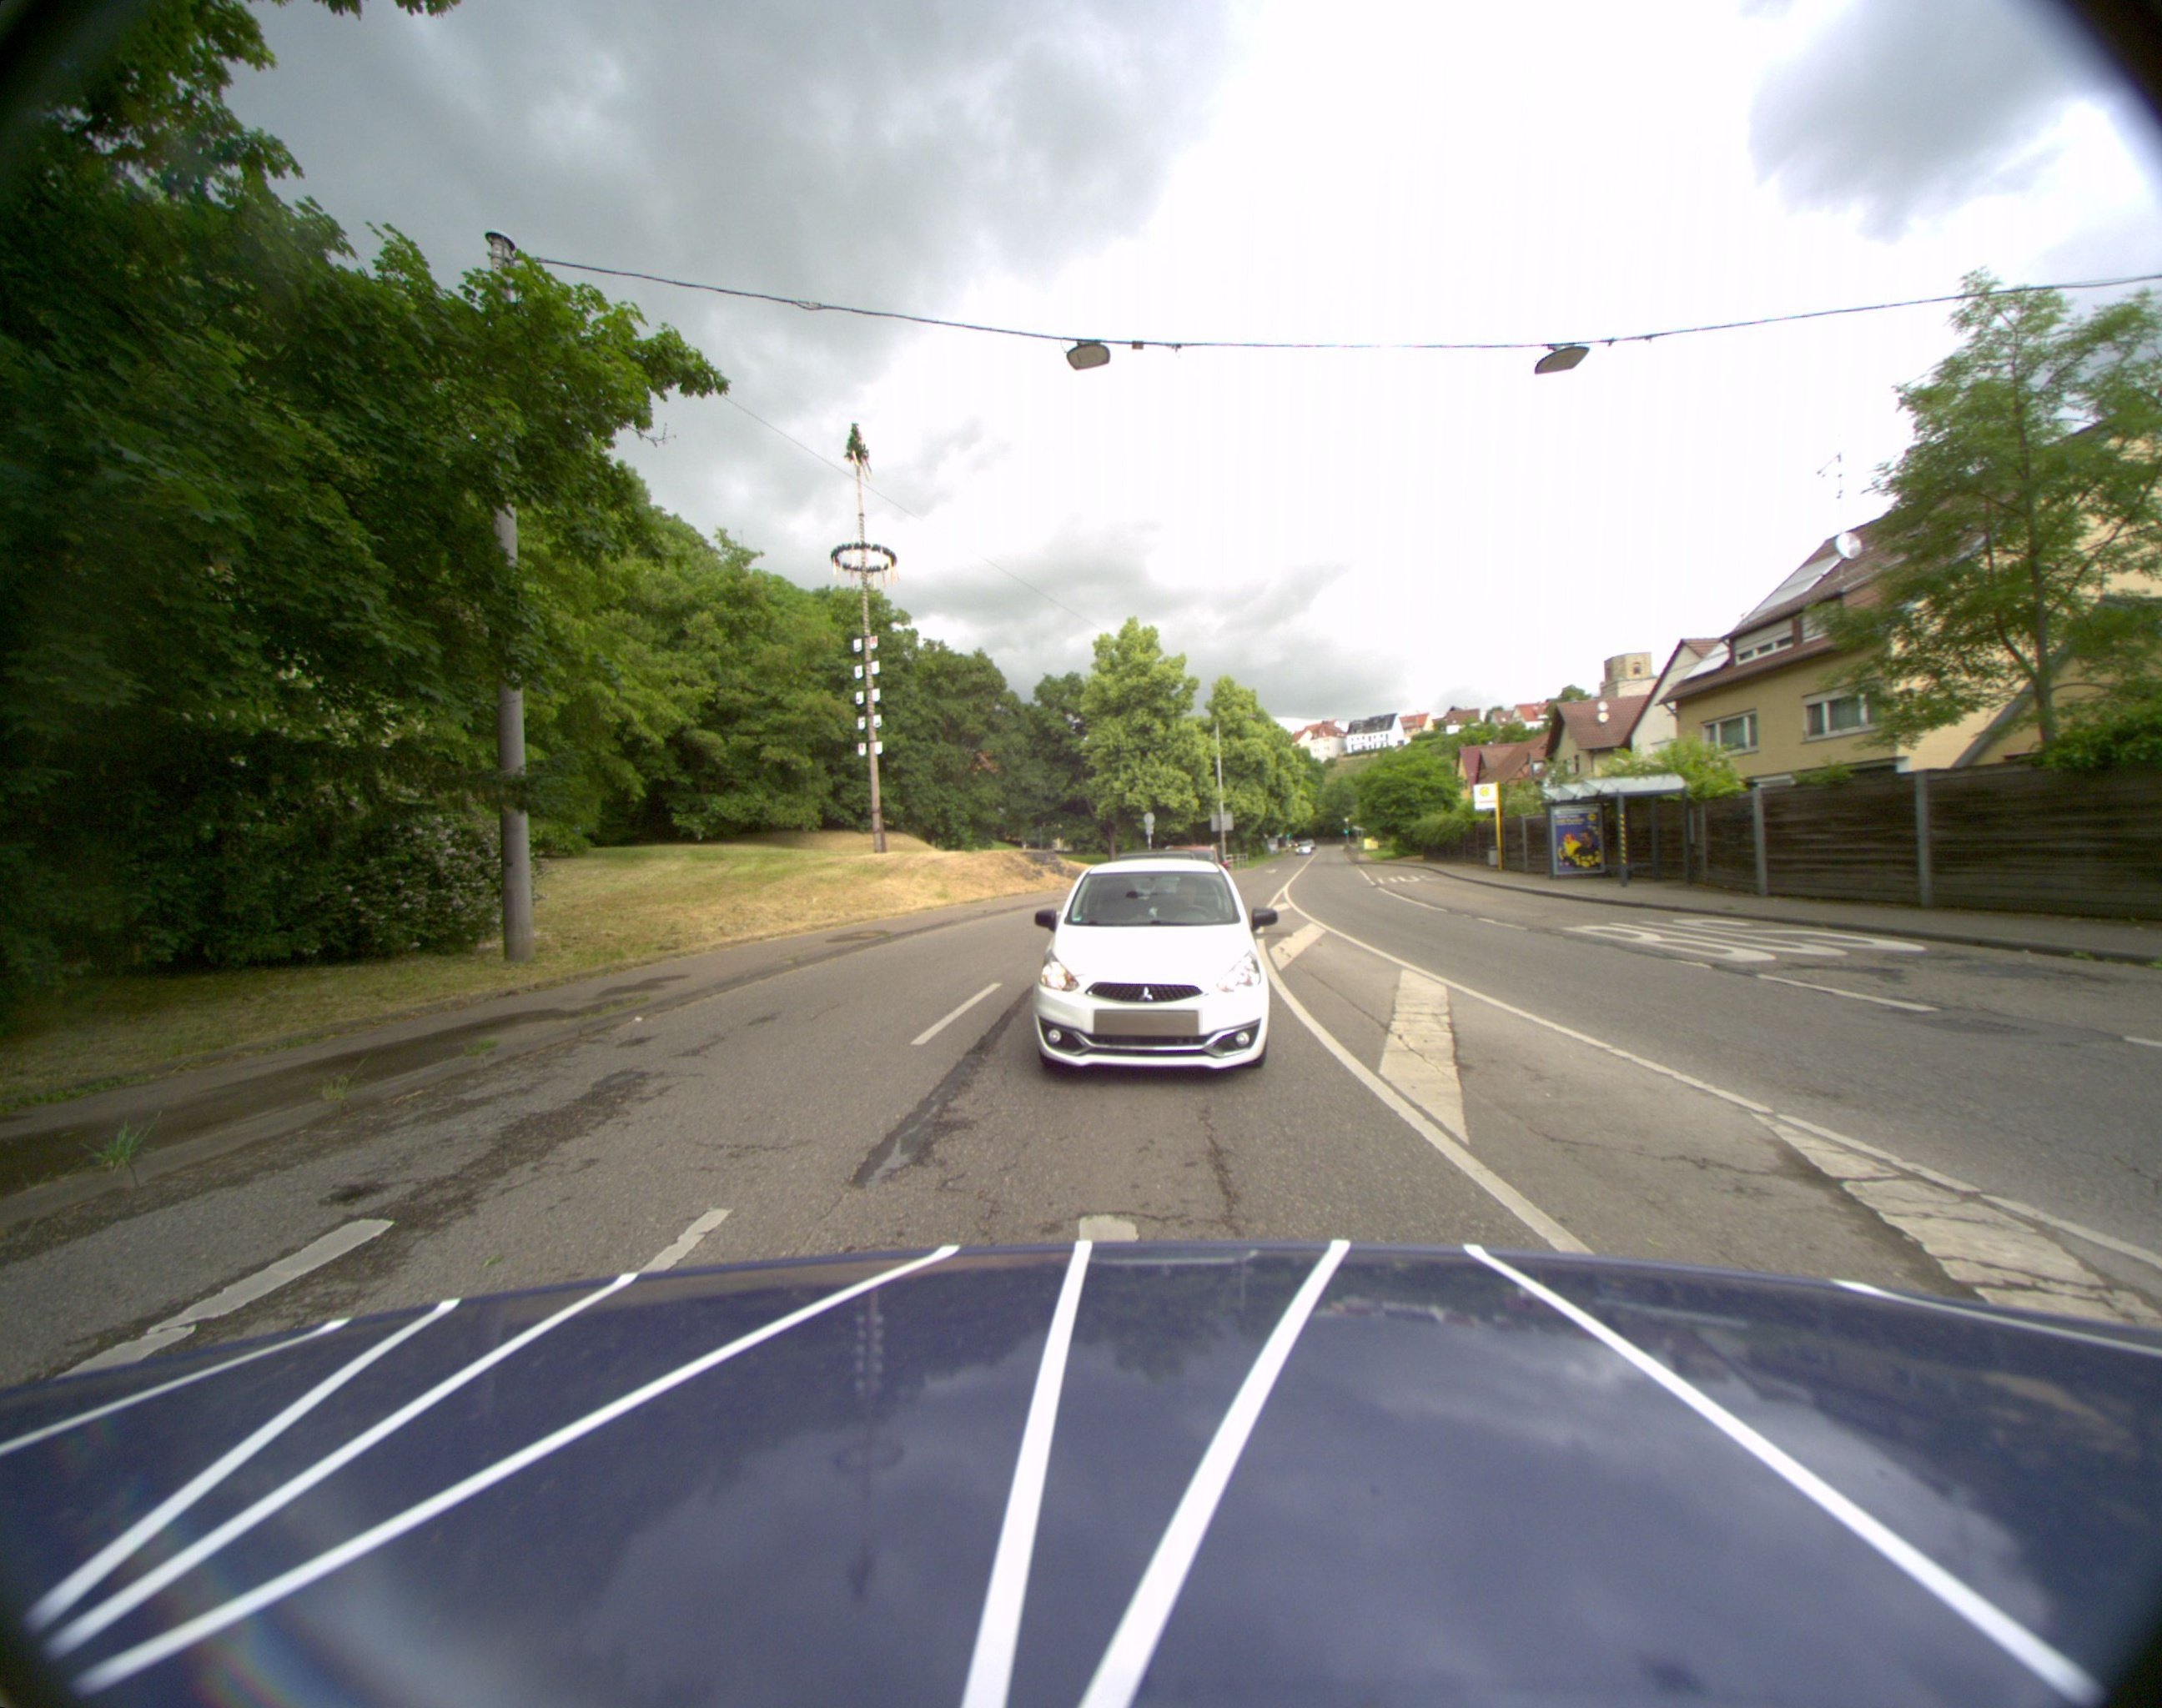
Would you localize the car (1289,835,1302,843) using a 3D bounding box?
[{"bbox_3d":[41.017,-2.848,145.268,1.845,1.608,4.001,-2,1,6],"label":"car"}]

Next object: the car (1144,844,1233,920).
[{"bbox_3d":[2.862,0.627,19.464,1.826,1.662,4.061,-2,1,13],"label":"car"}]

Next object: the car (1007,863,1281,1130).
[{"bbox_3d":[0.643,0.905,6.435,1.617,1.505,3.607,-2,1,9],"label":"car"}]

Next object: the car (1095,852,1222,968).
[{"bbox_3d":[1.372,0.791,12.596,1.723,1.539,3.784,-2,1,9],"label":"car"}]

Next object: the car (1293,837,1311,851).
[{"bbox_3d":[27.153,-1.247,93.488,1.844,1.630,4.003,-2,1,13],"label":"car"}]

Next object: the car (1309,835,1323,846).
[{"bbox_3d":[38.614,-2.190,124.935,1.909,1.745,4.003,-3,0,13],"label":"car"}]
